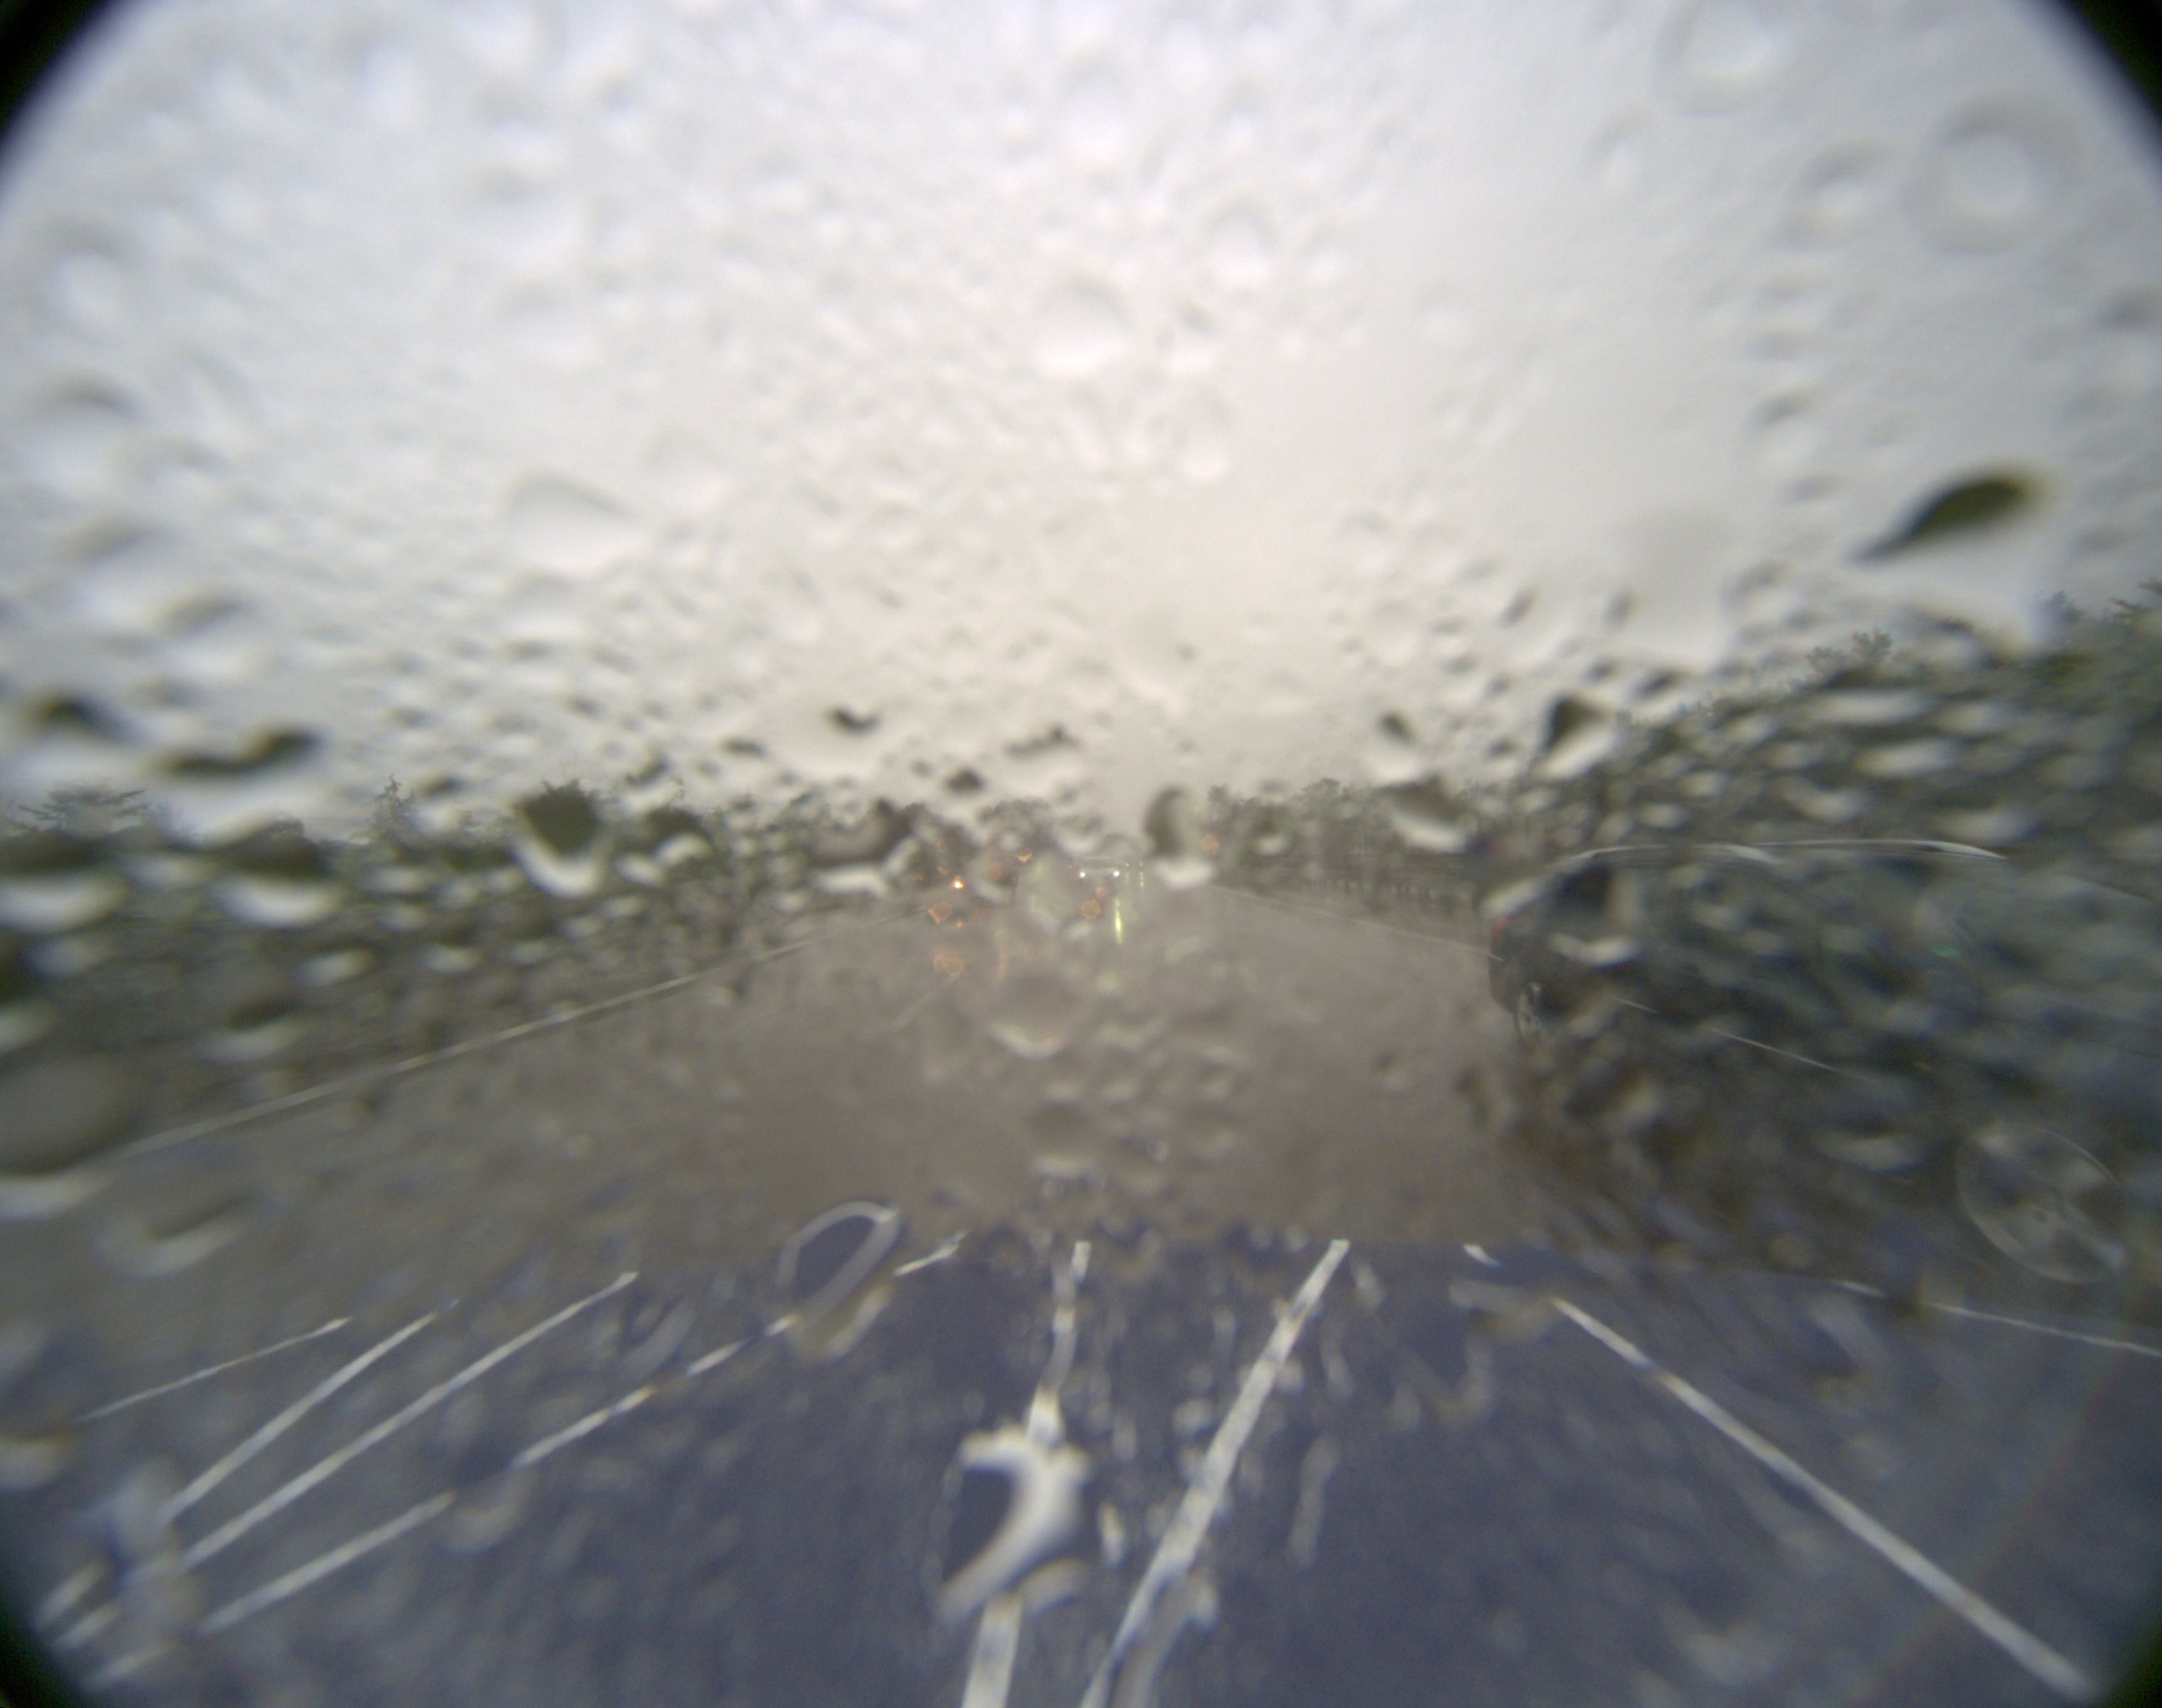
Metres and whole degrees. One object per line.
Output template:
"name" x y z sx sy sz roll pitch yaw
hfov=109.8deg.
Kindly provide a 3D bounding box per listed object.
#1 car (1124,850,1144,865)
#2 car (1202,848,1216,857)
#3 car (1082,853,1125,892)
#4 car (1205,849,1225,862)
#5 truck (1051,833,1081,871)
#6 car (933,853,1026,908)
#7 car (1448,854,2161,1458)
"car" 5.573 0.372 80.626 1.900 1.533 4.090 -2 0 2
"car" 21.333 -0.313 126.631 1.843 1.376 3.920 -2 0 2
"car" 1.047 0.788 33.941 1.751 1.545 4.091 -2 0 3
"car" 16.866 0.214 95.746 1.998 1.586 4.001 -2 0 3
"truck" -1.637 -0.258 86.747 2.755 4.054 6.484 -2 0 3
"car" -3.536 0.869 27.779 2.463 1.736 5.719 -2 0 1
"car" 3.834 0.783 3.308 2.059 1.476 5.158 -2 0 2
